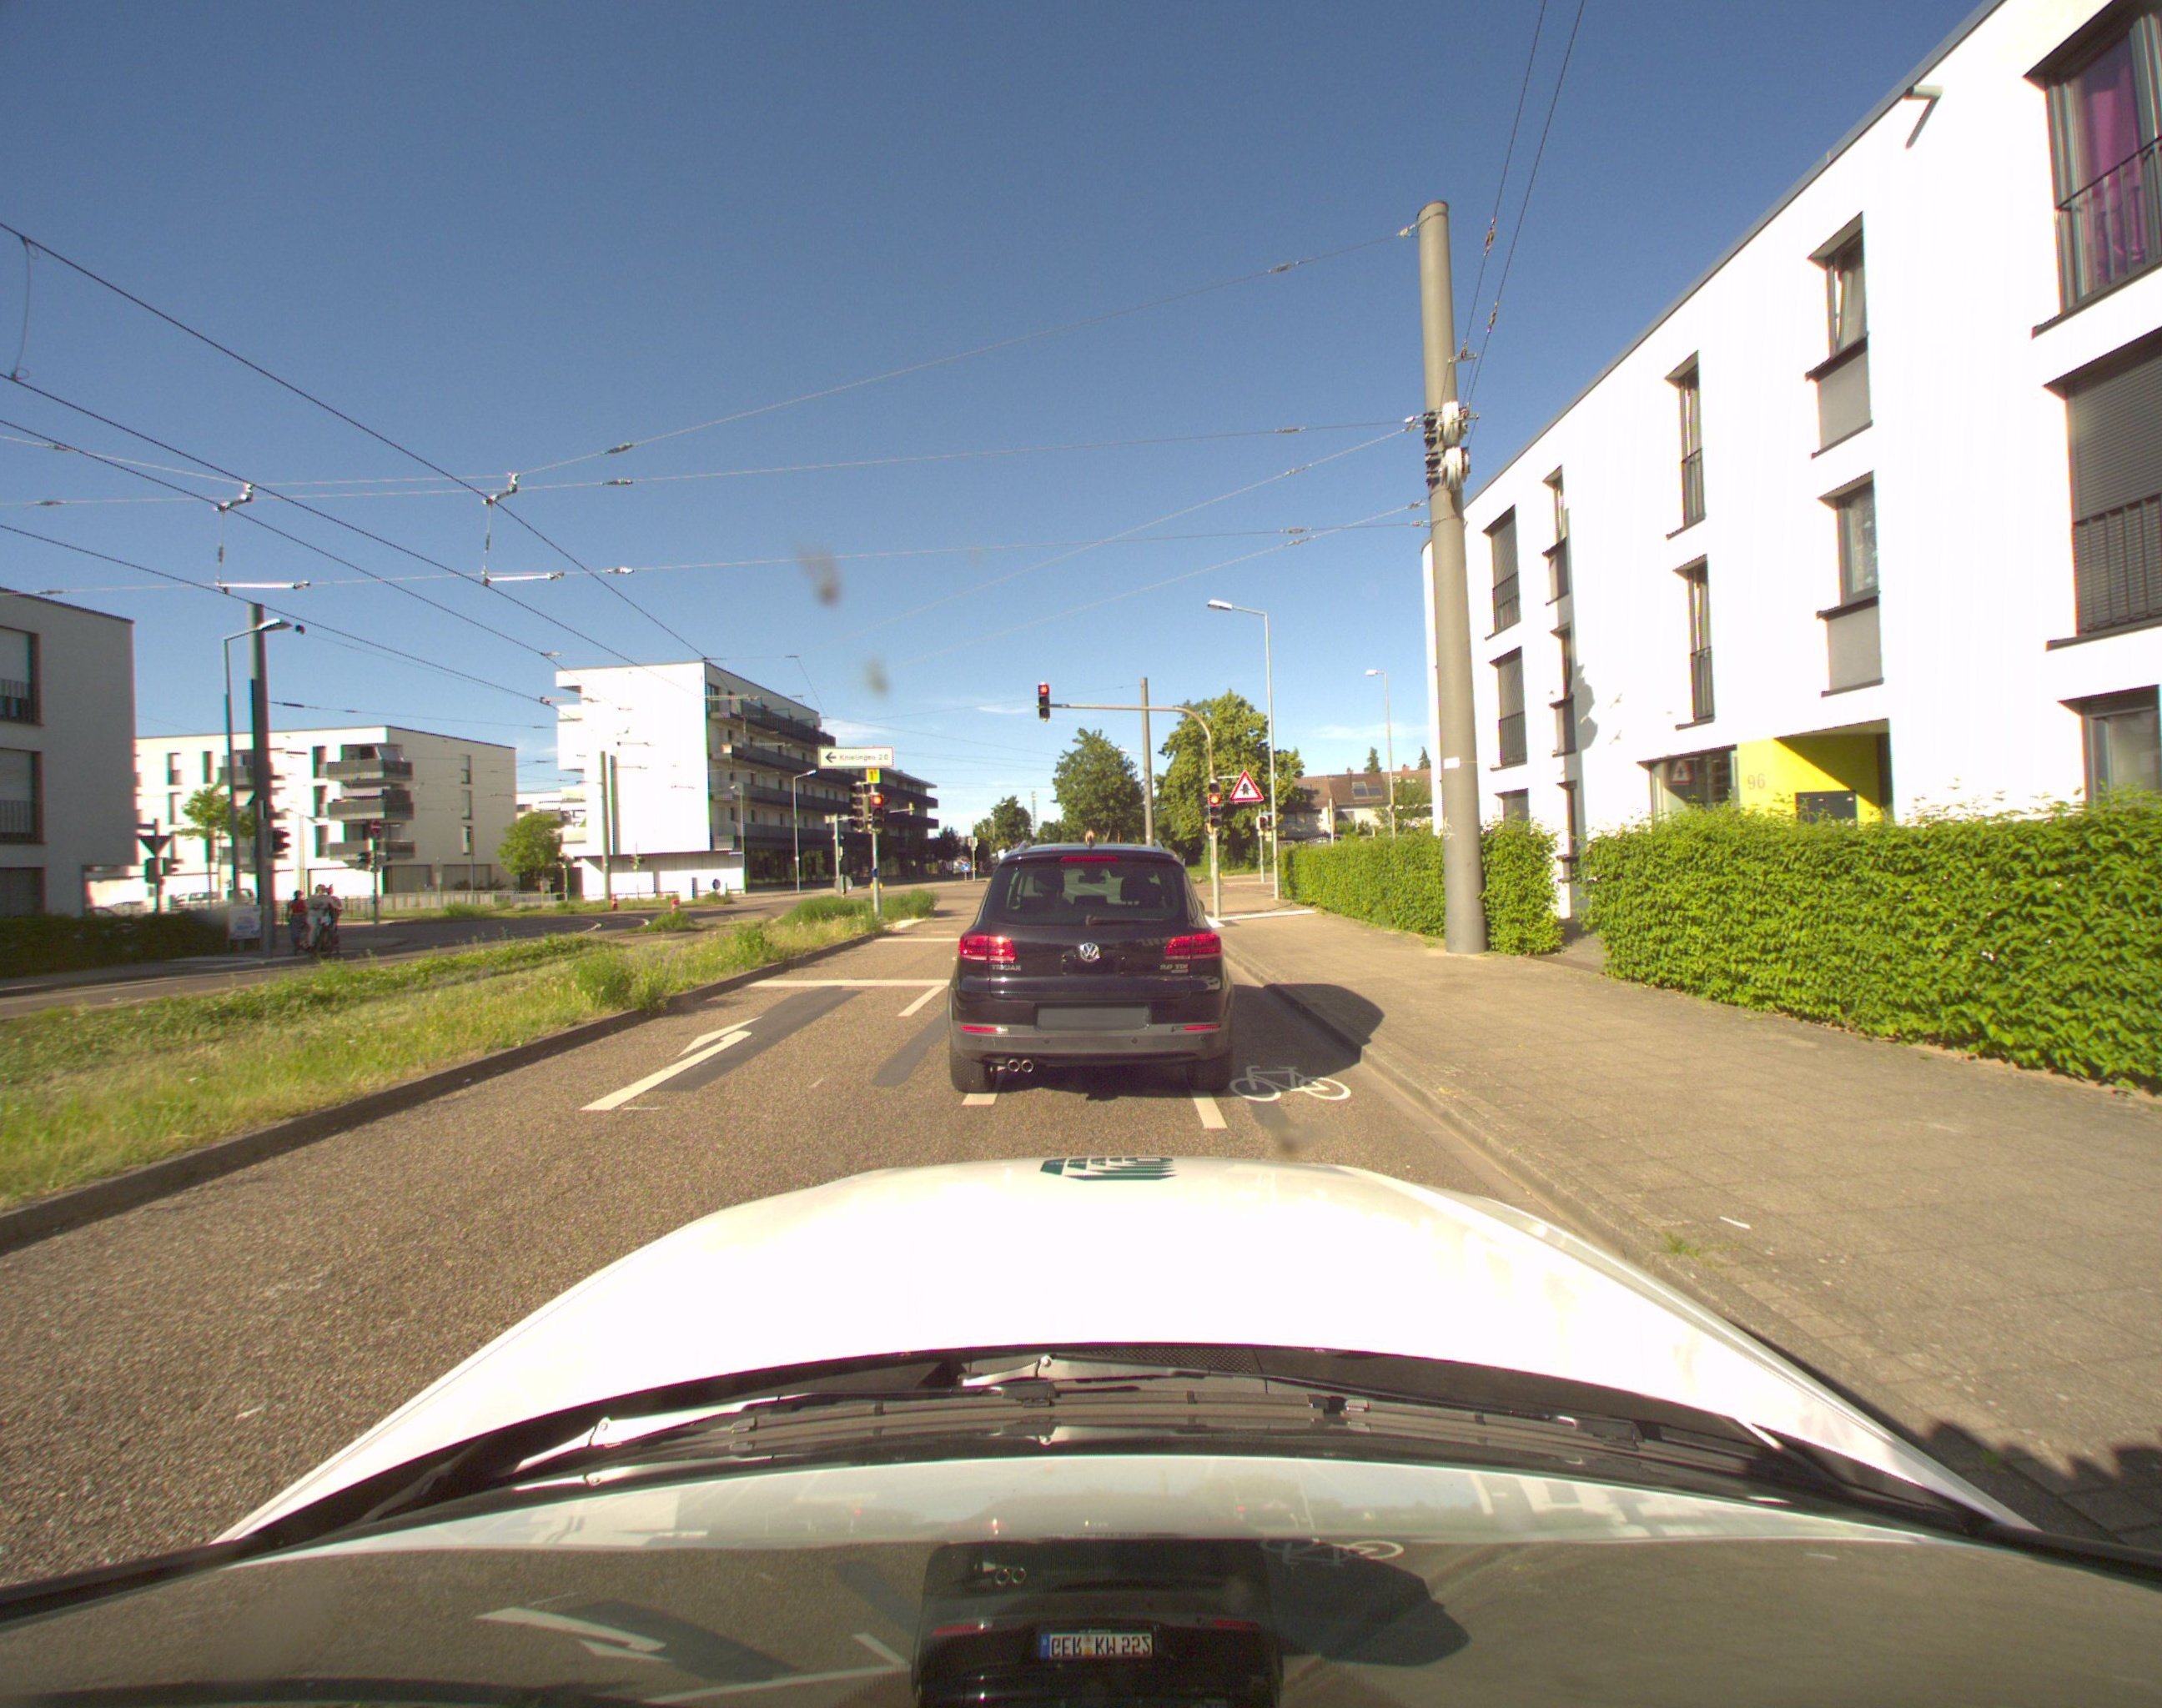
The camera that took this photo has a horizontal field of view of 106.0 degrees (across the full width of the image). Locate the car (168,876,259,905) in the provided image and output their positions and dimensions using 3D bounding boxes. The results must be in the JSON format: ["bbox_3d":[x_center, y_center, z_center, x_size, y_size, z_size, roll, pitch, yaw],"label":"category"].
[{"bbox_3d":[-58.717,2.441,55.185,3.974,1.838,2.000,-1,0,0],"label":"car"}]

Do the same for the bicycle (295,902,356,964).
[{"bbox_3d":[-18.482,1.870,19.887,1.005,1.174,3.649,1,0,-44],"label":"bicycle"}]

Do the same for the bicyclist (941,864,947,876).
[{"bbox_3d":[-14.661,1.717,87.065,0.472,1.223,0.713,-1,0,5],"label":"bicyclist"}]

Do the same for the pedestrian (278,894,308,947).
[{"bbox_3d":[-22.960,1.919,23.738,0.562,1.464,0.734,-1,0,-40],"label":"pedestrian"}]

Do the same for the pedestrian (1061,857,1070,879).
[{"bbox_3d":[-1.150,1.029,60.123,0.600,1.640,0.530,-1,0,6],"label":"pedestrian"}]

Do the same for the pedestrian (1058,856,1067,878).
[{"bbox_3d":[-1.362,0.963,59.435,0.600,1.565,0.530,-1,0,6],"label":"pedestrian"}]

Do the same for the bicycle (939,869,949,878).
[{"bbox_3d":[-14.630,2.062,87.225,0.493,0.848,2.082,-1,0,6],"label":"bicycle"}]

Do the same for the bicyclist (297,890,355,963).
[{"bbox_3d":[-18.111,1.709,19.527,0.982,1.630,0.901,-1,0,-45],"label":"bicyclist"}]

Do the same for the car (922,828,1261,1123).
[{"bbox_3d":[0.083,0.690,6.627,1.899,1.643,4.000,-1,0,0],"label":"car"}]

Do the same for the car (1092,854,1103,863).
[{"bbox_3d":[2.845,0.747,140.934,1.745,1.387,4.000,-1,0,0],"label":"car"}]

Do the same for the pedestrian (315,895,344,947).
[{"bbox_3d":[-22.163,1.971,24.030,0.561,1.464,0.605,-1,0,-36],"label":"pedestrian"}]
